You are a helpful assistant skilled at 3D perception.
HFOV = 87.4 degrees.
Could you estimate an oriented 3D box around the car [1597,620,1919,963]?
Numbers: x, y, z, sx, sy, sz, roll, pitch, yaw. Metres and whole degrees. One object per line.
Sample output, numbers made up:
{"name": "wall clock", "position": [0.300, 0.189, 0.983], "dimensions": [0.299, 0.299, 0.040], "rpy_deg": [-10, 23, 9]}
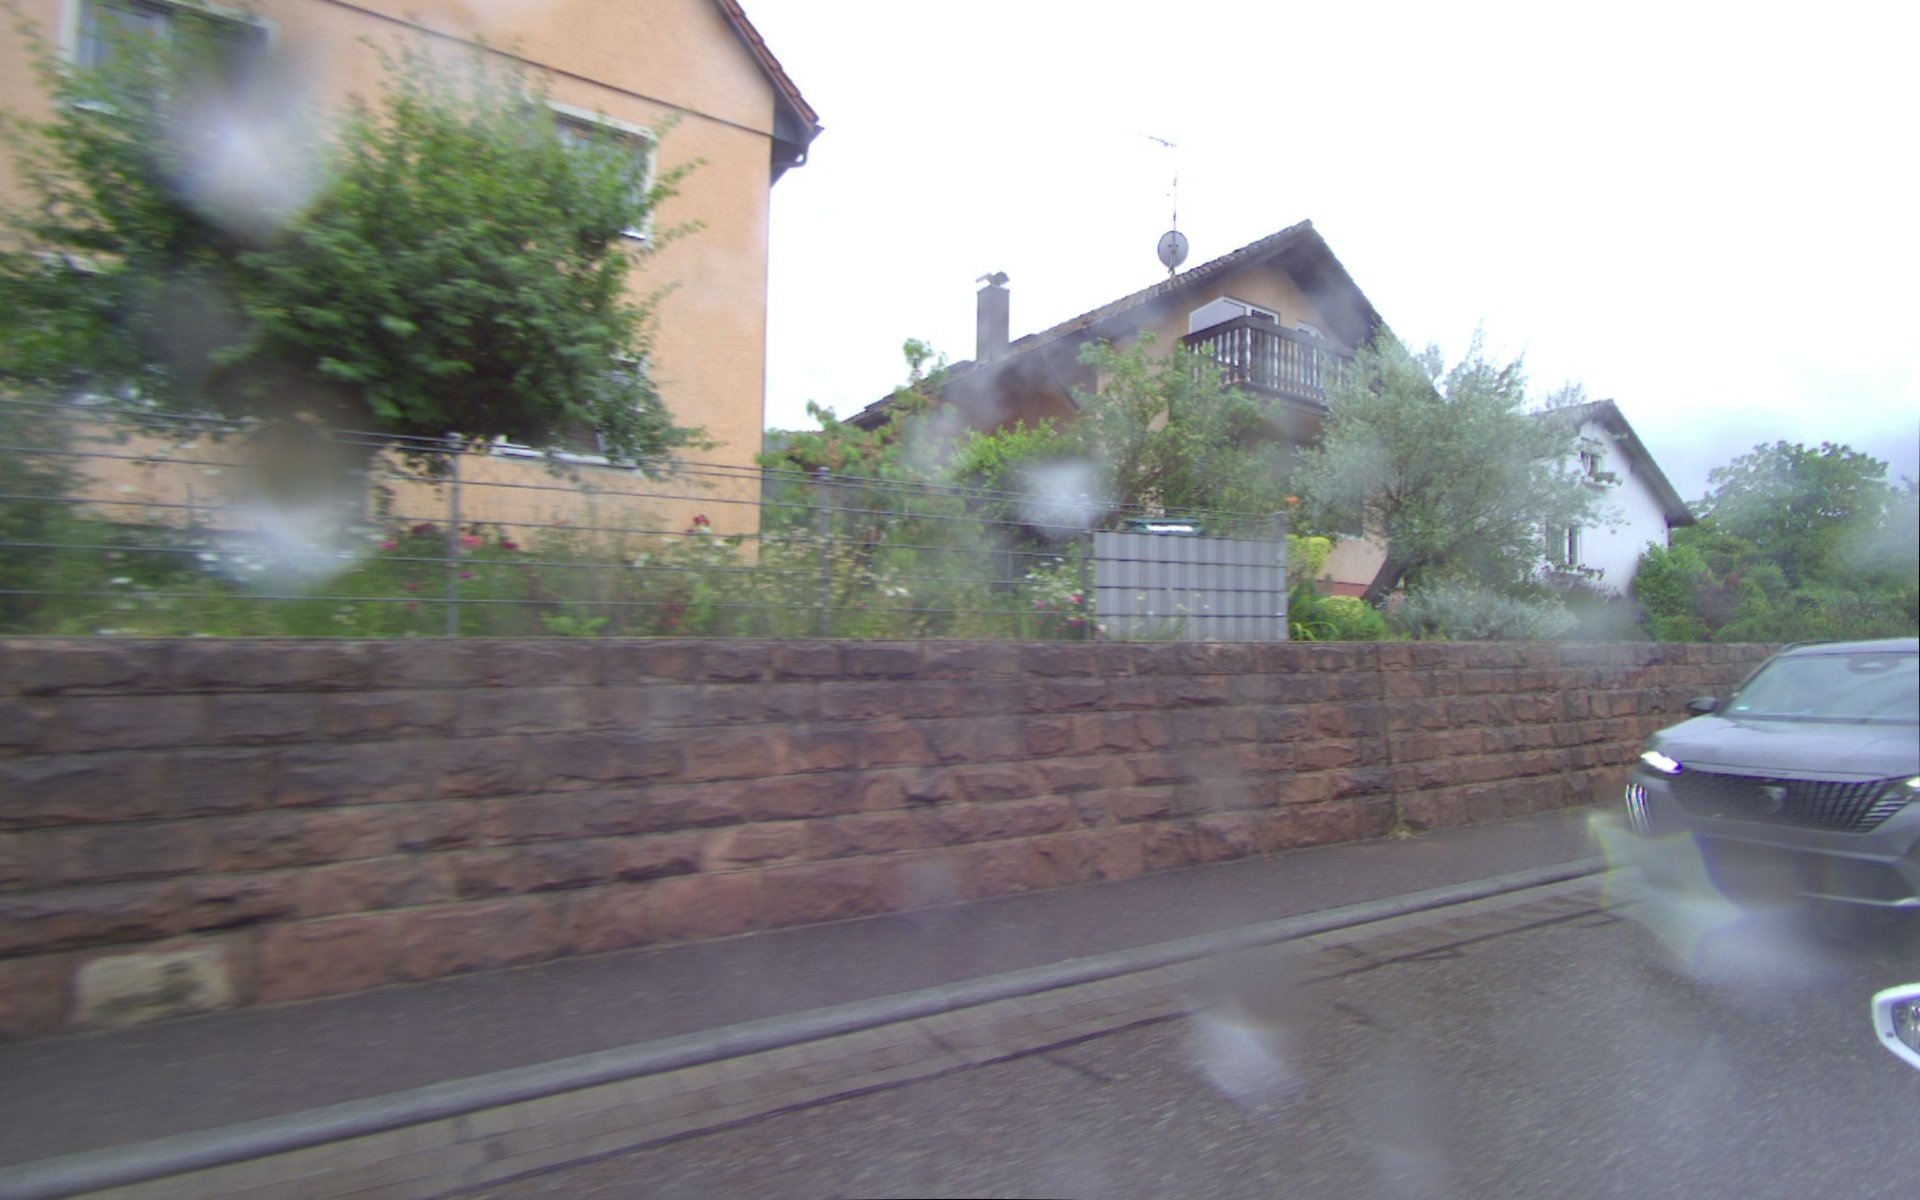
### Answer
{"name": "car", "position": [5.740, 0.947, 6.080], "dimensions": [3.809, 1.566, 1.691], "rpy_deg": [1, -4, -33]}
